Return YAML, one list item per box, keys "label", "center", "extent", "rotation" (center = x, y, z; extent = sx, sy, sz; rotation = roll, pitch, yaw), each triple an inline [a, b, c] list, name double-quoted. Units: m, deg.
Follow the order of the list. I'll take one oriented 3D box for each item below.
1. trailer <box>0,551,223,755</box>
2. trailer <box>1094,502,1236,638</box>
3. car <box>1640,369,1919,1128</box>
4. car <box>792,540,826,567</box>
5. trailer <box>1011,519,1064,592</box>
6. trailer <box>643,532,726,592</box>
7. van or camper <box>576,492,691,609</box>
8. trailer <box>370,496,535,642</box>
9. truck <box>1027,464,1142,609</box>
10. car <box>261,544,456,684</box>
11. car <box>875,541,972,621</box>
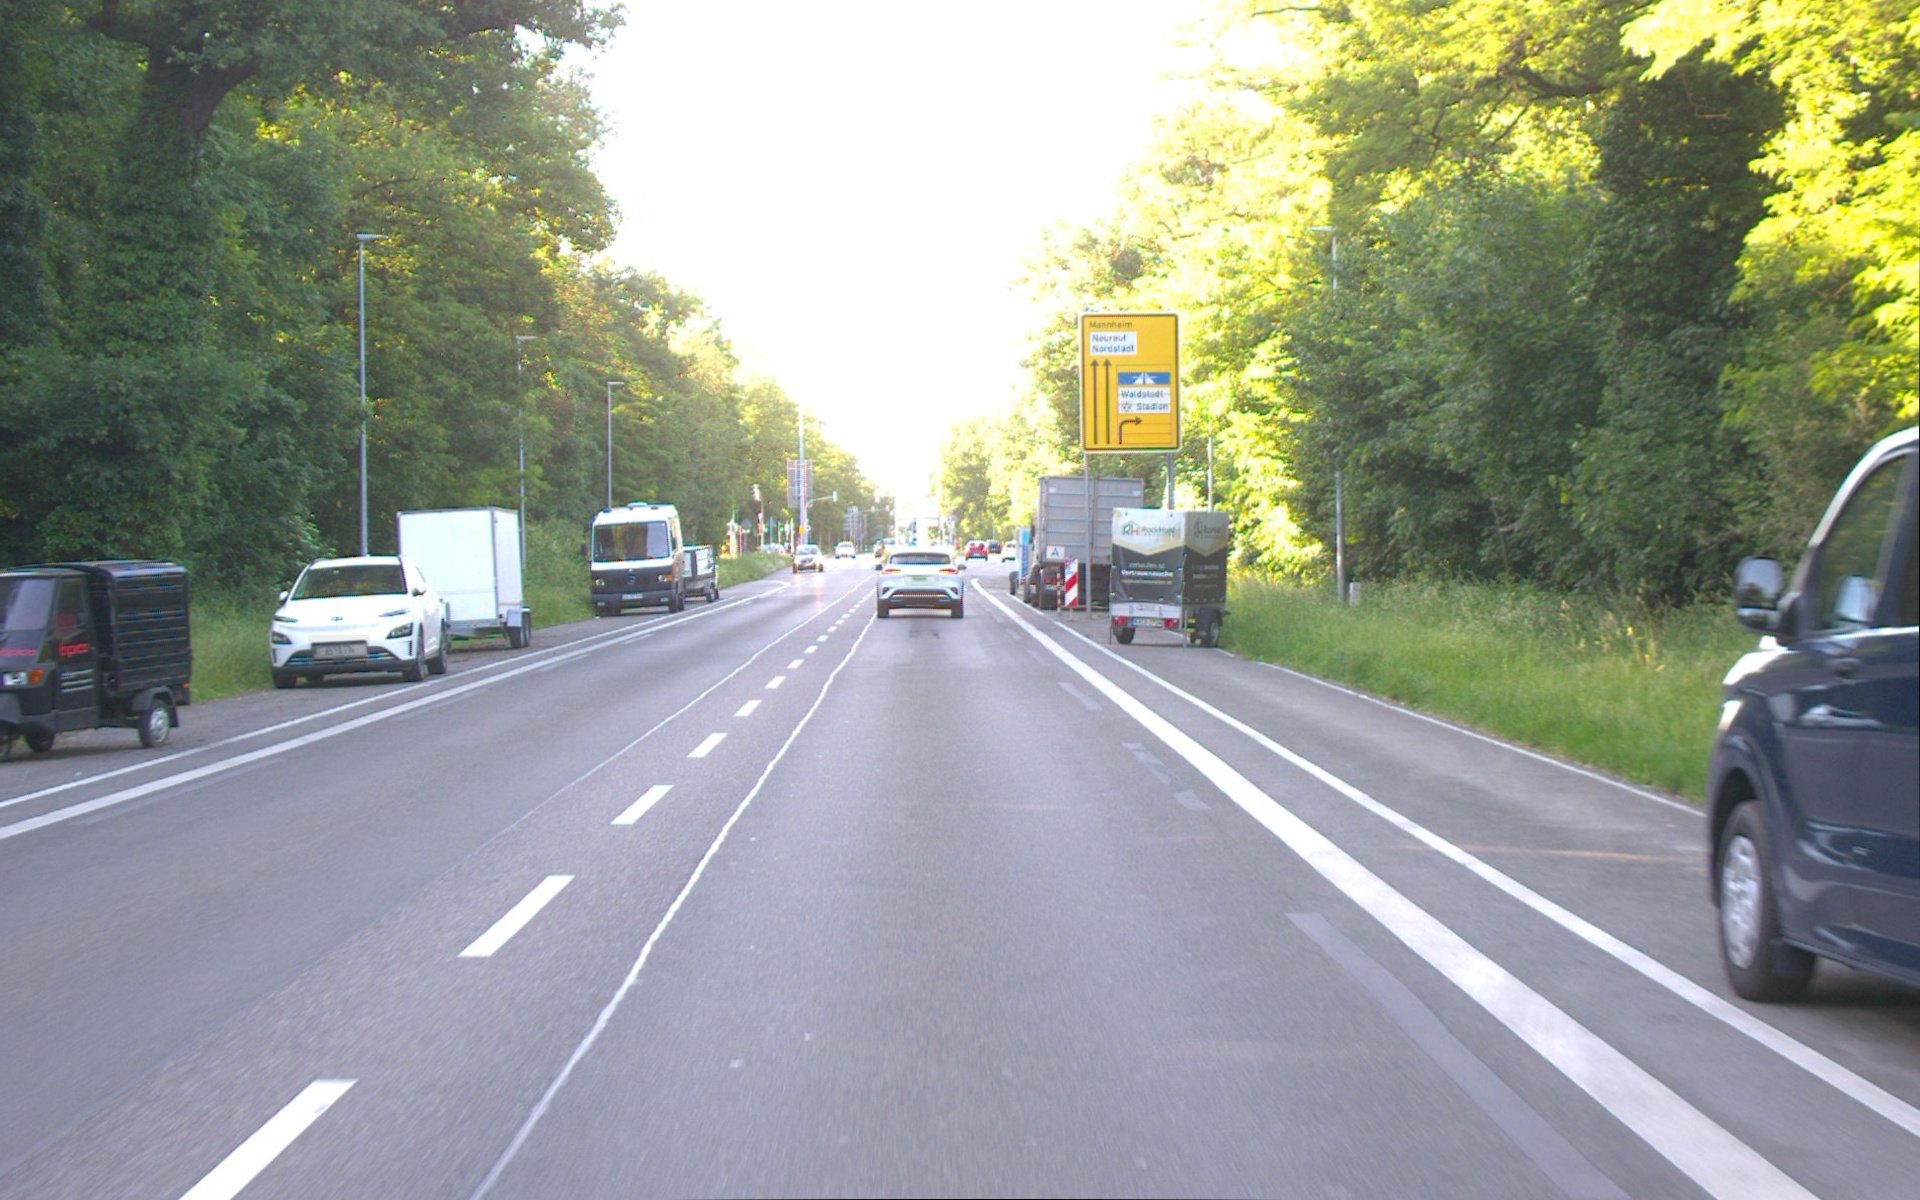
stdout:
- label: "trailer"
  center: [-7.401, 0.398, 28.320]
  extent: [1.397, 1.568, 2.672]
  rotation: [0, 1, 20]
- label: "trailer"
  center: [3.265, -0.484, 54.499]
  extent: [1.616, 2.105, 2.394]
  rotation: [1, 1, 20]
- label: "car"
  center: [3.604, 0.393, 10.171]
  extent: [2.113, 2.007, 5.040]
  rotation: [2, 1, 0]
- label: "car"
  center: [-8.376, -2.587, 190.434]
  extent: [1.678, 1.411, 4.000]
  rotation: [-1, 1, 0]
- label: "trailer"
  center: [2.412, -1.409, 107.719]
  extent: [1.500, 2.228, 4.550]
  rotation: [1, 1, 0]
- label: "trailer"
  center: [-8.052, -1.118, 100.767]
  extent: [1.471, 1.654, 3.364]
  rotation: [-2, 0, 12]
- label: "van or camper"
  center: [-8.253, -1.263, 87.334]
  extent: [2.302, 2.758, 5.557]
  rotation: [-3, 1, 0]
- label: "trailer"
  center: [-8.311, -0.528, 56.608]
  extent: [2.075, 2.285, 3.486]
  rotation: [-1, 1, 1]
- label: "truck"
  center: [2.981, -1.533, 84.041]
  extent: [2.505, 3.355, 7.107]
  rotation: [1, 1, 0]
- label: "car"
  center: [-7.456, 0.133, 42.966]
  extent: [1.814, 1.566, 4.207]
  rotation: [-3, 1, -3]
- label: "car"
  center: [-0.772, -0.428, 72.939]
  extent: [1.993, 1.634, 4.000]
  rotation: [-1, 1, -1]
